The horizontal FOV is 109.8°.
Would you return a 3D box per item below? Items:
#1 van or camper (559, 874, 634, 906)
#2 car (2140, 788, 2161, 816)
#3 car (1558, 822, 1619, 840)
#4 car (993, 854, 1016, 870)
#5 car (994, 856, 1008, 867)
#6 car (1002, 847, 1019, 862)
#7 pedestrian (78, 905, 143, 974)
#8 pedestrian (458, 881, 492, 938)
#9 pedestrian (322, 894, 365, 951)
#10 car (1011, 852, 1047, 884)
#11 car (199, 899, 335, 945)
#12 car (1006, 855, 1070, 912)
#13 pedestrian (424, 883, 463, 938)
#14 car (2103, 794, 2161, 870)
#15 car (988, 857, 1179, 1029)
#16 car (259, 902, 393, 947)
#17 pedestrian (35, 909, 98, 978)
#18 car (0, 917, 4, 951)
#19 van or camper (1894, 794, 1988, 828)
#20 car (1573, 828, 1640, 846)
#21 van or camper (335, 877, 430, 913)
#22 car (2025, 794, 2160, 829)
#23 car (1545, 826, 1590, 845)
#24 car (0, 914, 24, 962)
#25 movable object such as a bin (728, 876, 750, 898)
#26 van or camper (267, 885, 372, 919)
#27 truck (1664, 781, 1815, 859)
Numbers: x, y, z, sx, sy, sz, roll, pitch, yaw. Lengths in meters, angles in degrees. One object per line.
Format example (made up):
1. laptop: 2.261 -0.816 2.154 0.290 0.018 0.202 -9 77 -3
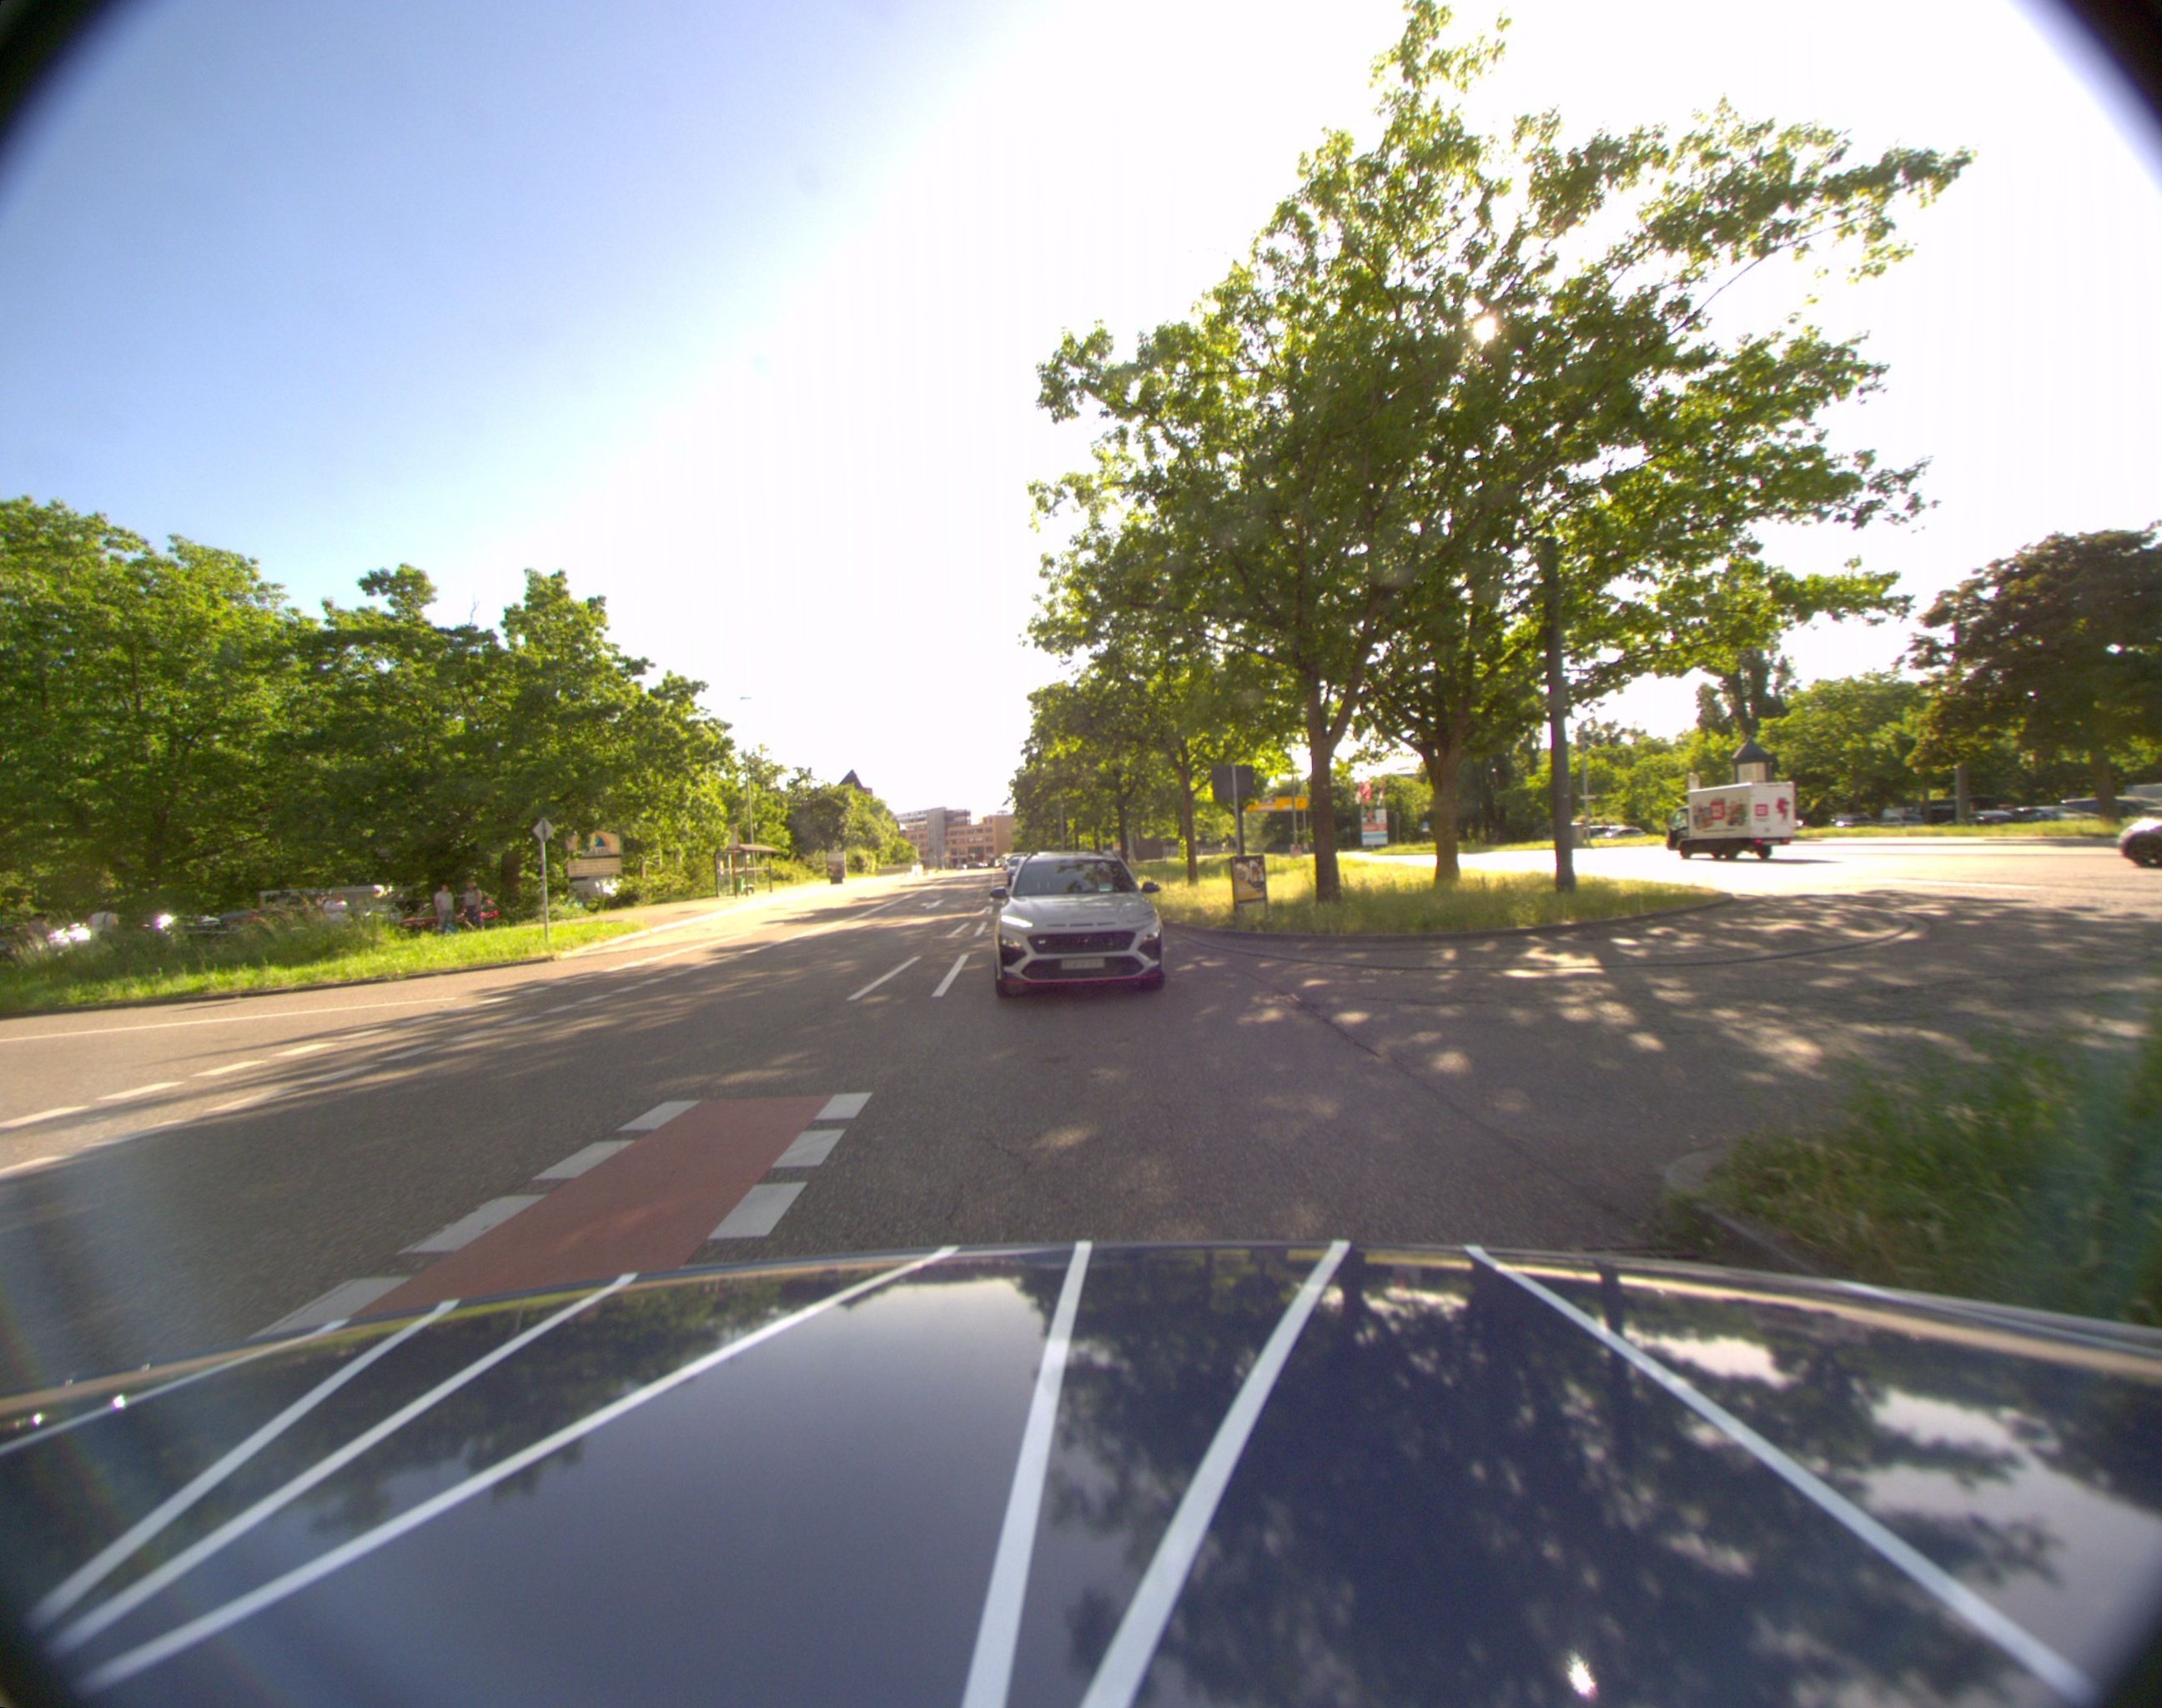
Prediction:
1. van or camper: -33.431 2.435 52.653 2.459 1.902 5.322 -3 0 -10
2. car: 67.719 -3.295 46.037 1.884 1.709 3.955 -4 1 -30
3. car: 50.443 -2.282 75.597 2.003 1.456 4.546 -6 2 -36
4. car: -7.043 0.714 70.153 1.782 1.397 3.998 -3 0 -3
5. car: -12.134 1.116 115.097 1.830 1.464 3.997 -4 1 -7
6. car: -8.900 0.078 96.346 1.745 1.538 4.002 -5 -3 -1
7. pedestrian: -24.456 2.152 19.160 0.705 1.610 0.566 -5 2 -12
8. pedestrian: -18.839 1.716 23.619 0.604 1.690 0.410 -3 1 -7
9. pedestrian: -20.829 1.922 21.472 0.529 1.509 0.613 -3 1 -4
10. car: -2.709 0.711 40.259 1.678 1.499 3.948 -3 0 -1
11. car: -38.167 3.157 35.786 1.999 1.587 3.998 -5 1 -2
12. car: -1.282 0.854 23.934 1.745 1.539 3.999 -3 0 -1
13. pedestrian: -19.370 1.707 23.100 0.624 1.625 0.551 -3 1 -6
14. car: 21.324 -0.438 13.120 1.666 1.440 4.403 -3 0 6
15. car: -0.159 0.861 9.366 1.781 1.542 3.978 -3 0 -6
16. car: -36.093 3.311 36.519 1.757 1.739 4.778 -5 -1 -4
17. pedestrian: -25.332 2.226 18.979 0.599 1.610 0.566 -5 2 -12
18. car: -36.575 2.644 23.441 3.652 1.268 1.621 -4 3 -12
19. van or camper: 60.362 -2.999 53.449 1.997 2.084 4.404 -3 0 10
20. car: 39.829 -1.275 57.679 1.822 1.122 3.995 -3 0 -13
21. van or camper: -49.077 2.848 53.571 2.459 2.146 5.322 -3 0 -12
22. car: 55.334 -2.302 41.676 2.001 1.558 3.994 -4 1 -17
23. car: 39.855 -1.503 62.306 1.819 1.440 4.003 -3 0 13
24. car: -32.895 2.563 21.292 3.589 1.307 1.621 -4 3 -12
25. movable object such as a bin: -16.407 1.579 36.455 0.729 1.024 0.578 -3 1 -7
26. van or camper: -52.747 3.267 52.810 2.459 1.902 5.322 -3 0 -10
27. truck: 22.644 -1.112 26.372 1.792 2.413 4.111 -3 1 4
